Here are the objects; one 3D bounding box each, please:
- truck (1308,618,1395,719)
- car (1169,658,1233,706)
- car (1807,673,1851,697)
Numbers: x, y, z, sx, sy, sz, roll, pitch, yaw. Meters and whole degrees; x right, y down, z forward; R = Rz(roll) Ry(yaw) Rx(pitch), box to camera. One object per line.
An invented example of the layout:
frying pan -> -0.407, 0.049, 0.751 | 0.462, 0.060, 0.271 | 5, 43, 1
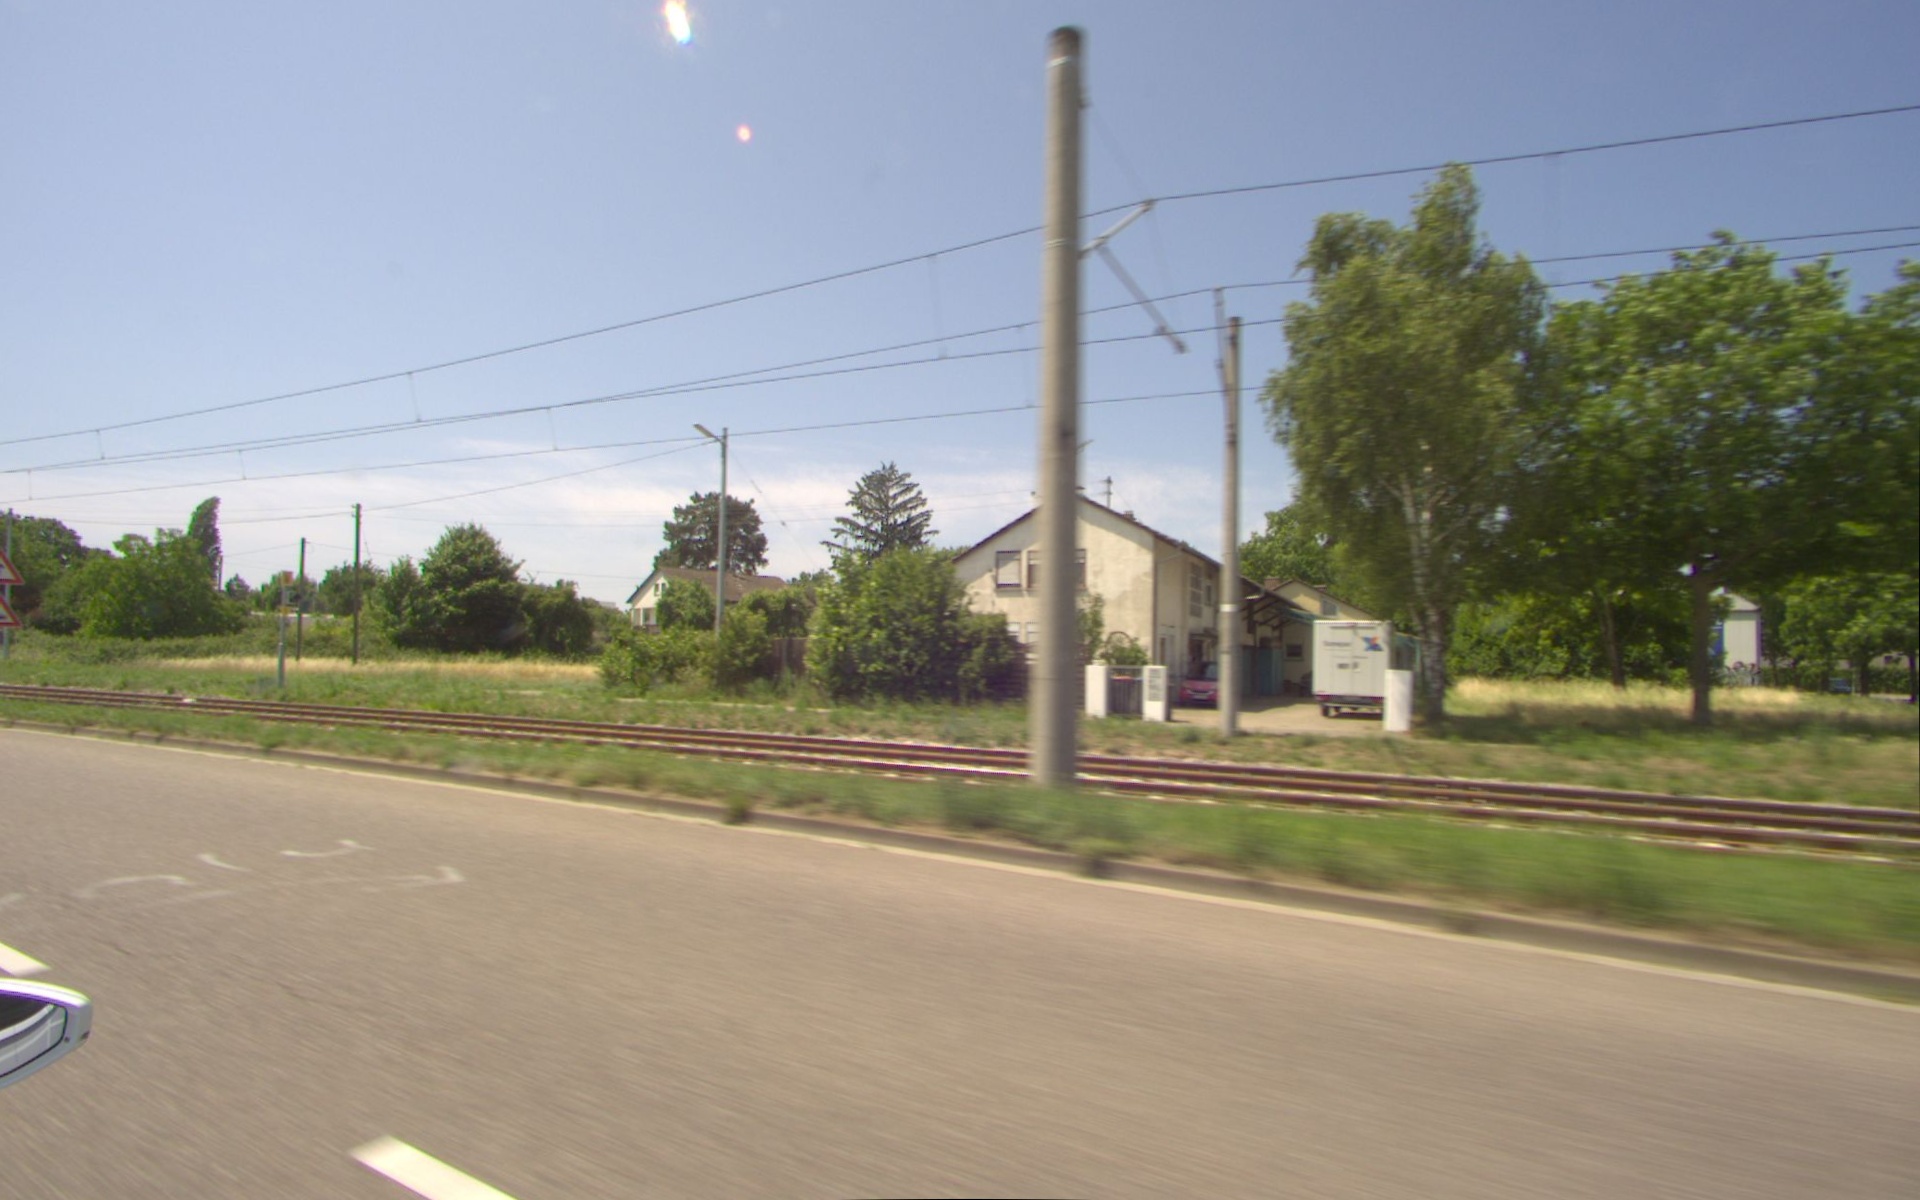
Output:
truck -> 12.505, 2.083, 31.748 | 2.282, 2.879, 5.845 | 0, -2, 24
car -> 8.475, 2.838, 35.007 | 1.654, 1.528, 3.439 | 0, -3, 22
car -> 77.263, 7.574, 89.064 | 1.968, 2.037, 3.992 | 0, -5, 26
